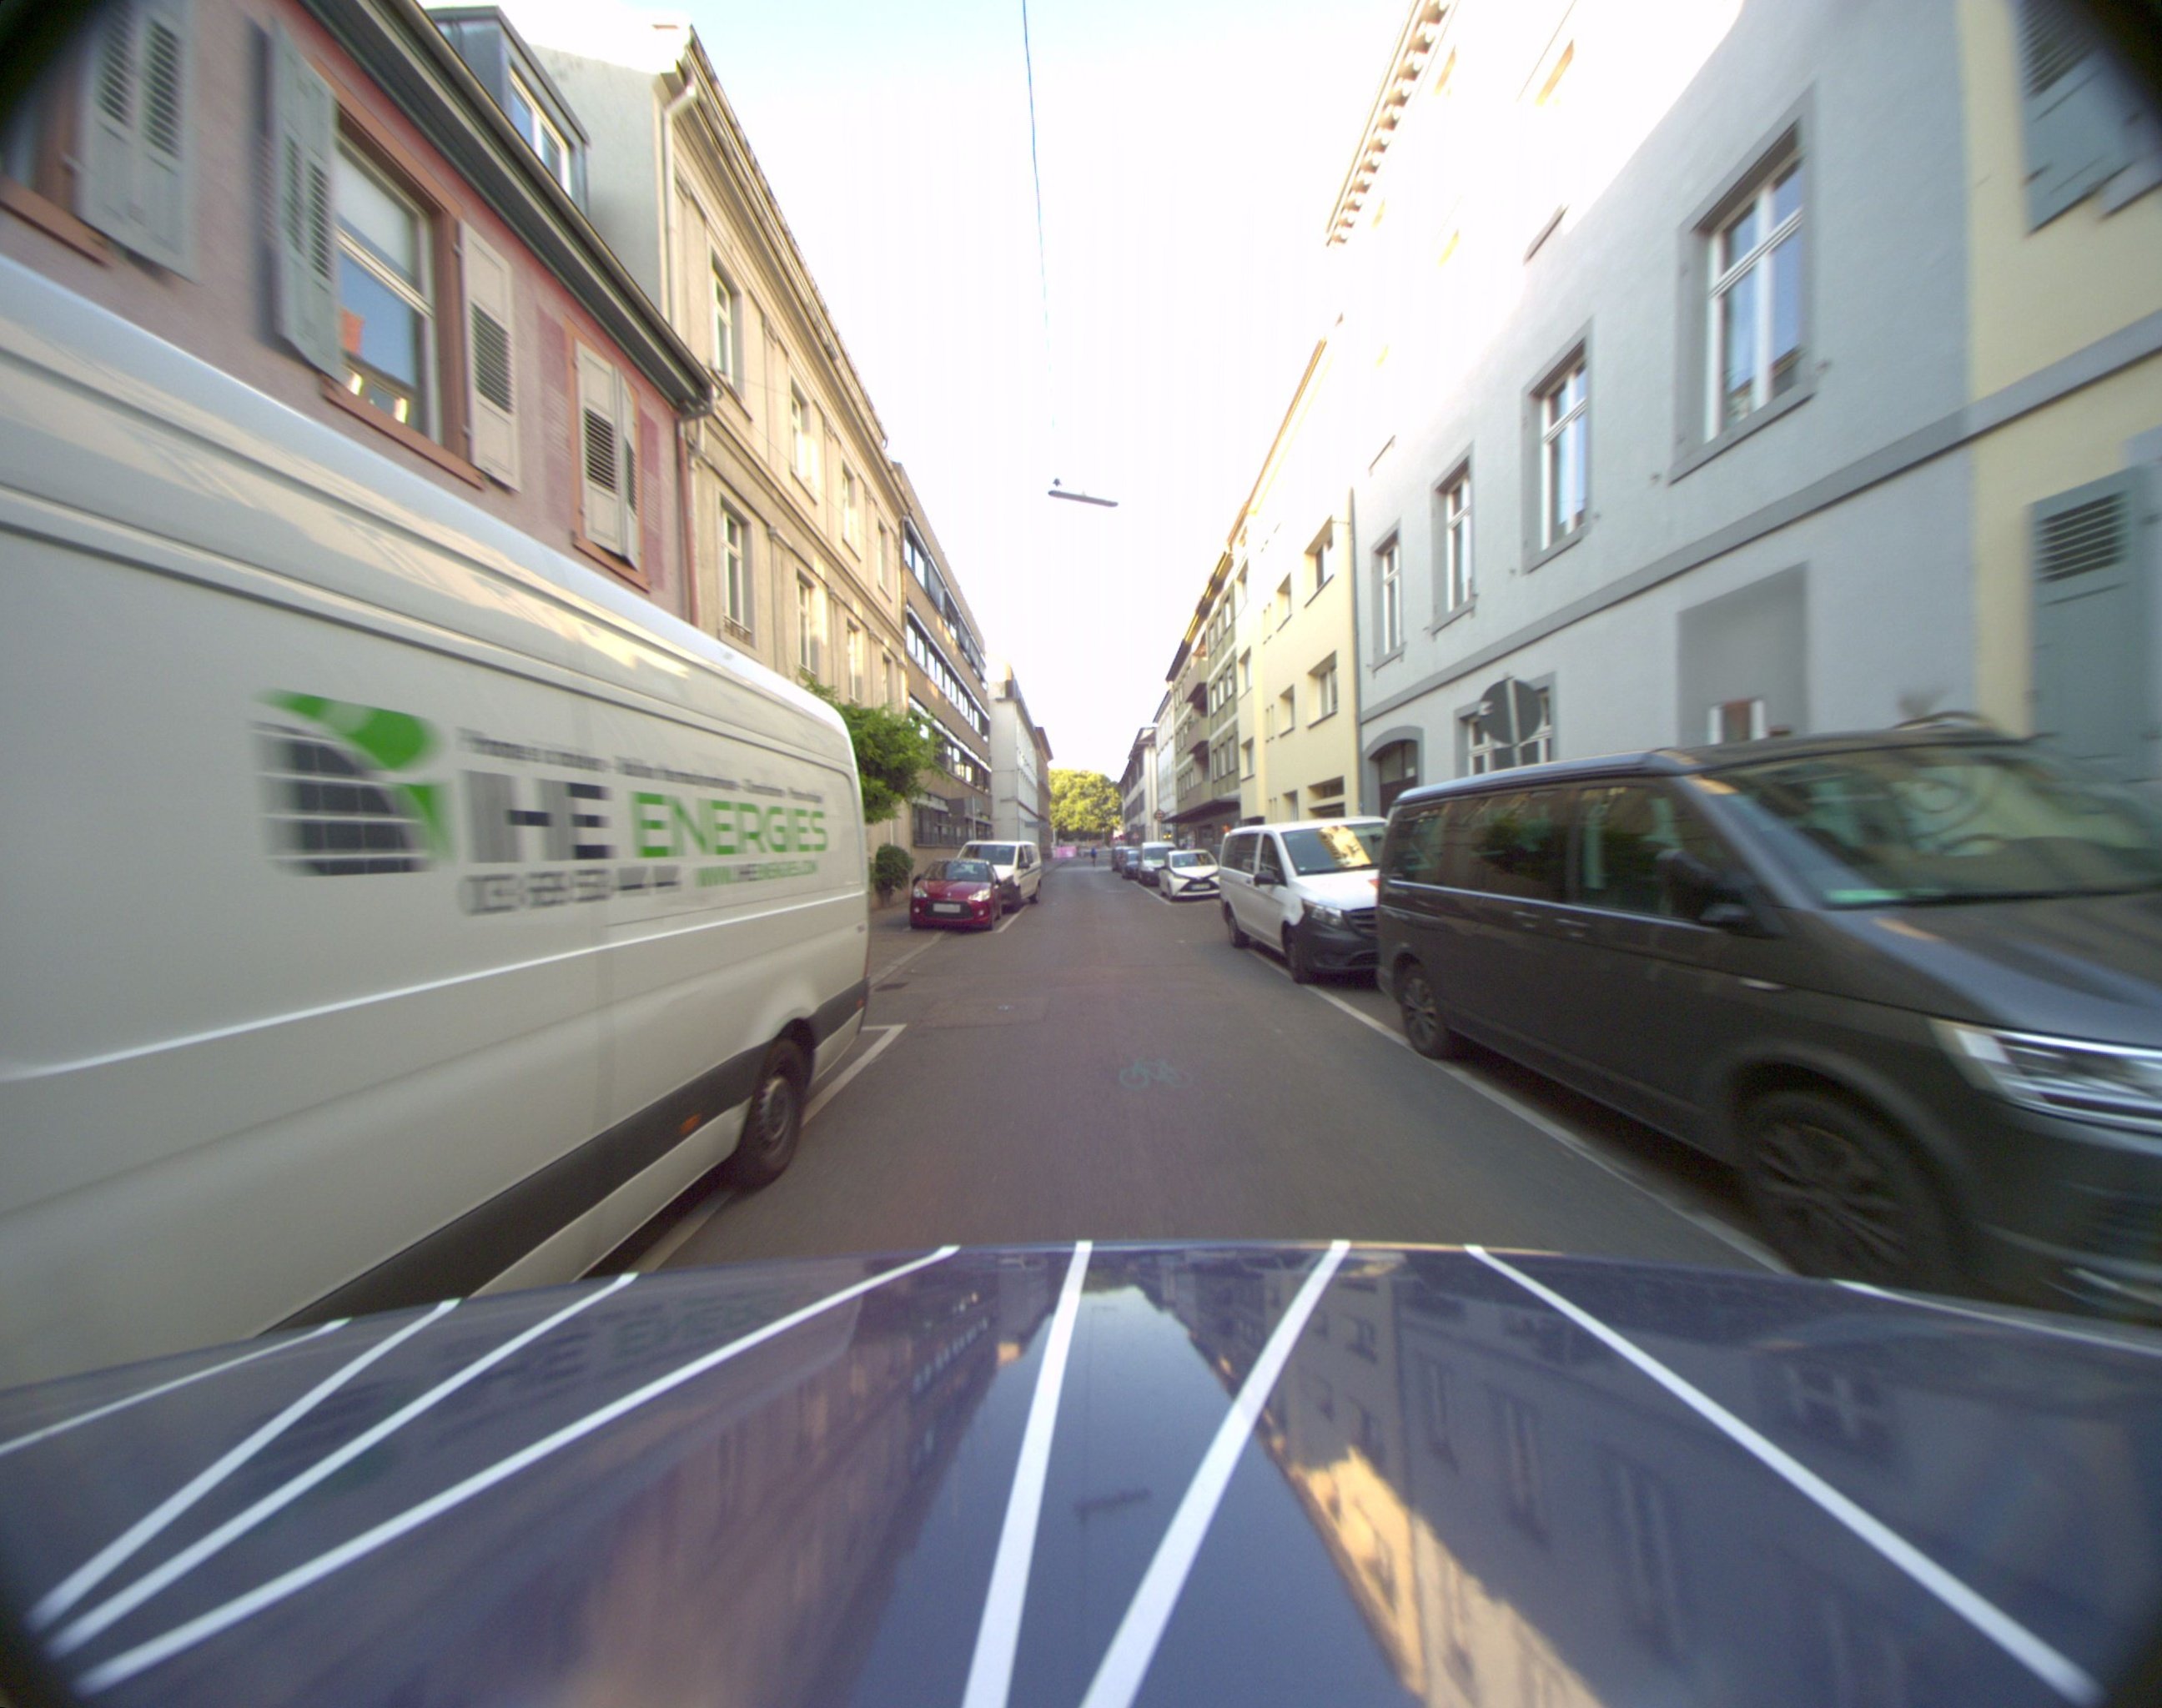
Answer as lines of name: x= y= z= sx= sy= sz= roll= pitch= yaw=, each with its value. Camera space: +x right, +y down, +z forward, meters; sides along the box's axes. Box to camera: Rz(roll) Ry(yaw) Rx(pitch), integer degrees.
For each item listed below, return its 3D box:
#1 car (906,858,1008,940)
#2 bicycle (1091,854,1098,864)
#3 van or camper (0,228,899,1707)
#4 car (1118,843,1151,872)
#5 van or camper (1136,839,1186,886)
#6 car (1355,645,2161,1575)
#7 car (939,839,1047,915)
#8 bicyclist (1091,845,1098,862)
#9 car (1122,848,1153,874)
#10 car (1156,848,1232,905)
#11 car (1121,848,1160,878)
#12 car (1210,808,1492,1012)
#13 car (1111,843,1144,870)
car: x=-2.570 y=0.876 z=16.543 sx=1.659 sy=1.496 sz=3.752 roll=-1 pitch=1 yaw=-2
bicycle: x=1.306 y=0.444 z=73.581 sx=0.635 sy=0.917 sz=1.779 roll=-2 pitch=1 yaw=1
van or camper: x=-2.413 y=0.497 z=1.751 sx=2.055 sy=2.622 sz=7.062 roll=-1 pitch=1 yaw=1
car: x=3.499 y=0.200 z=50.551 sx=1.777 sy=1.801 sz=4.509 roll=-2 pitch=1 yaw=-1
van or camper: x=3.334 y=0.300 z=32.393 sx=1.776 sy=1.837 sz=4.178 roll=-1 pitch=1 yaw=1
car: x=3.214 y=0.514 z=3.790 sx=1.867 sy=2.002 sz=4.813 roll=-1 pitch=1 yaw=-1
car: x=-2.334 y=0.547 z=21.656 sx=1.940 sy=1.887 sz=5.278 roll=-1 pitch=1 yaw=5
bicyclist: x=1.269 y=-0.080 z=73.577 sx=0.625 sy=1.630 sz=1.081 roll=-2 pitch=1 yaw=1
car: x=3.358 y=0.394 z=45.772 sx=1.628 sy=1.476 sz=3.877 roll=-1 pitch=1 yaw=1
car: x=3.341 y=0.605 z=22.957 sx=1.666 sy=1.440 sz=3.520 roll=-5 pitch=1 yaw=0
car: x=3.099 y=0.448 z=40.173 sx=1.628 sy=1.408 sz=3.979 roll=-2 pitch=1 yaw=-1
car: x=3.151 y=0.536 z=10.170 sx=1.867 sy=2.002 sz=5.105 roll=-1 pitch=1 yaw=-1
car: x=3.339 y=0.133 z=55.683 sx=1.882 sy=1.801 sz=4.449 roll=-2 pitch=1 yaw=-2
